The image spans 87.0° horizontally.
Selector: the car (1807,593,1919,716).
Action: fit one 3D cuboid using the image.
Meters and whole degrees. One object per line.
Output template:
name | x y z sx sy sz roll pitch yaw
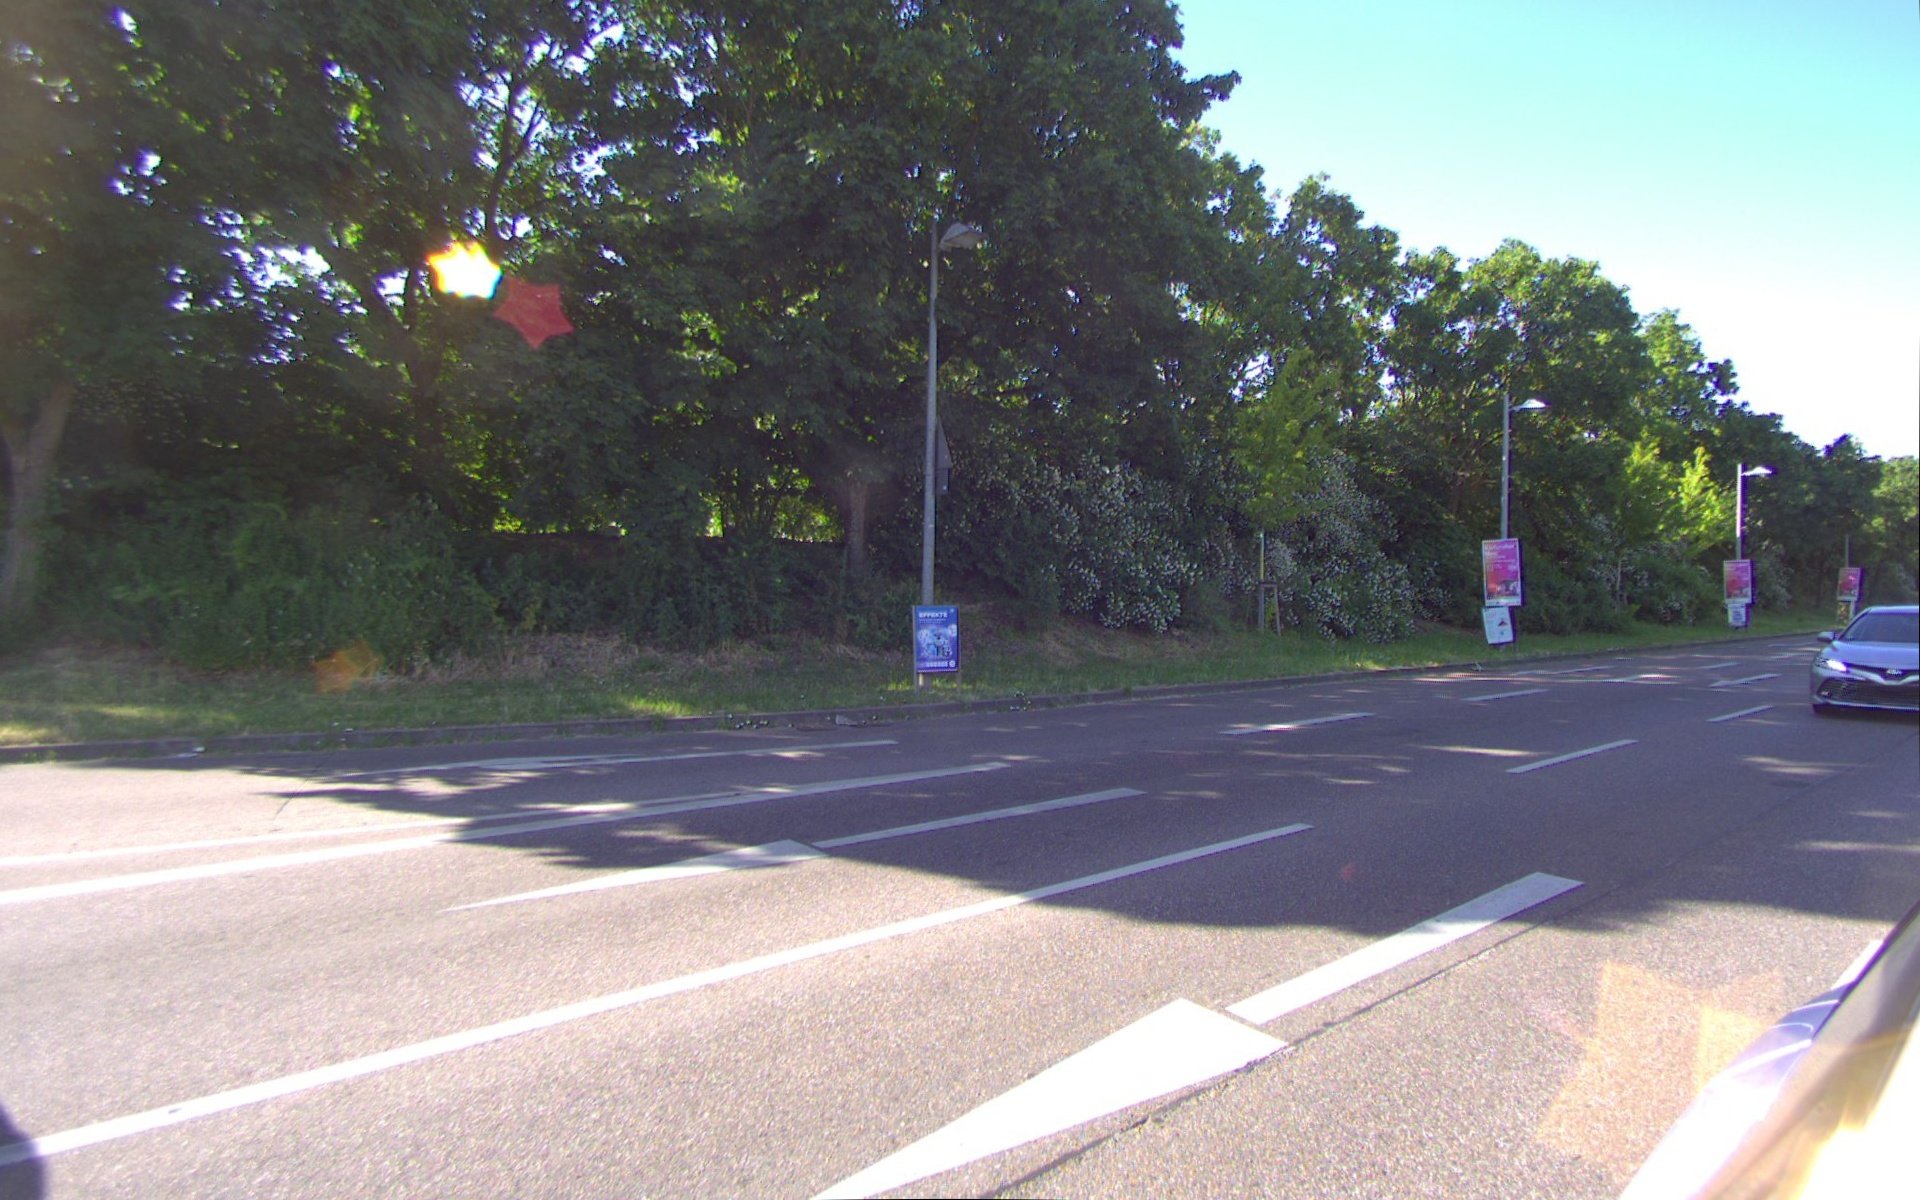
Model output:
car | 13.199 0.663 13.691 4.512 1.454 1.875 0 1 -40
